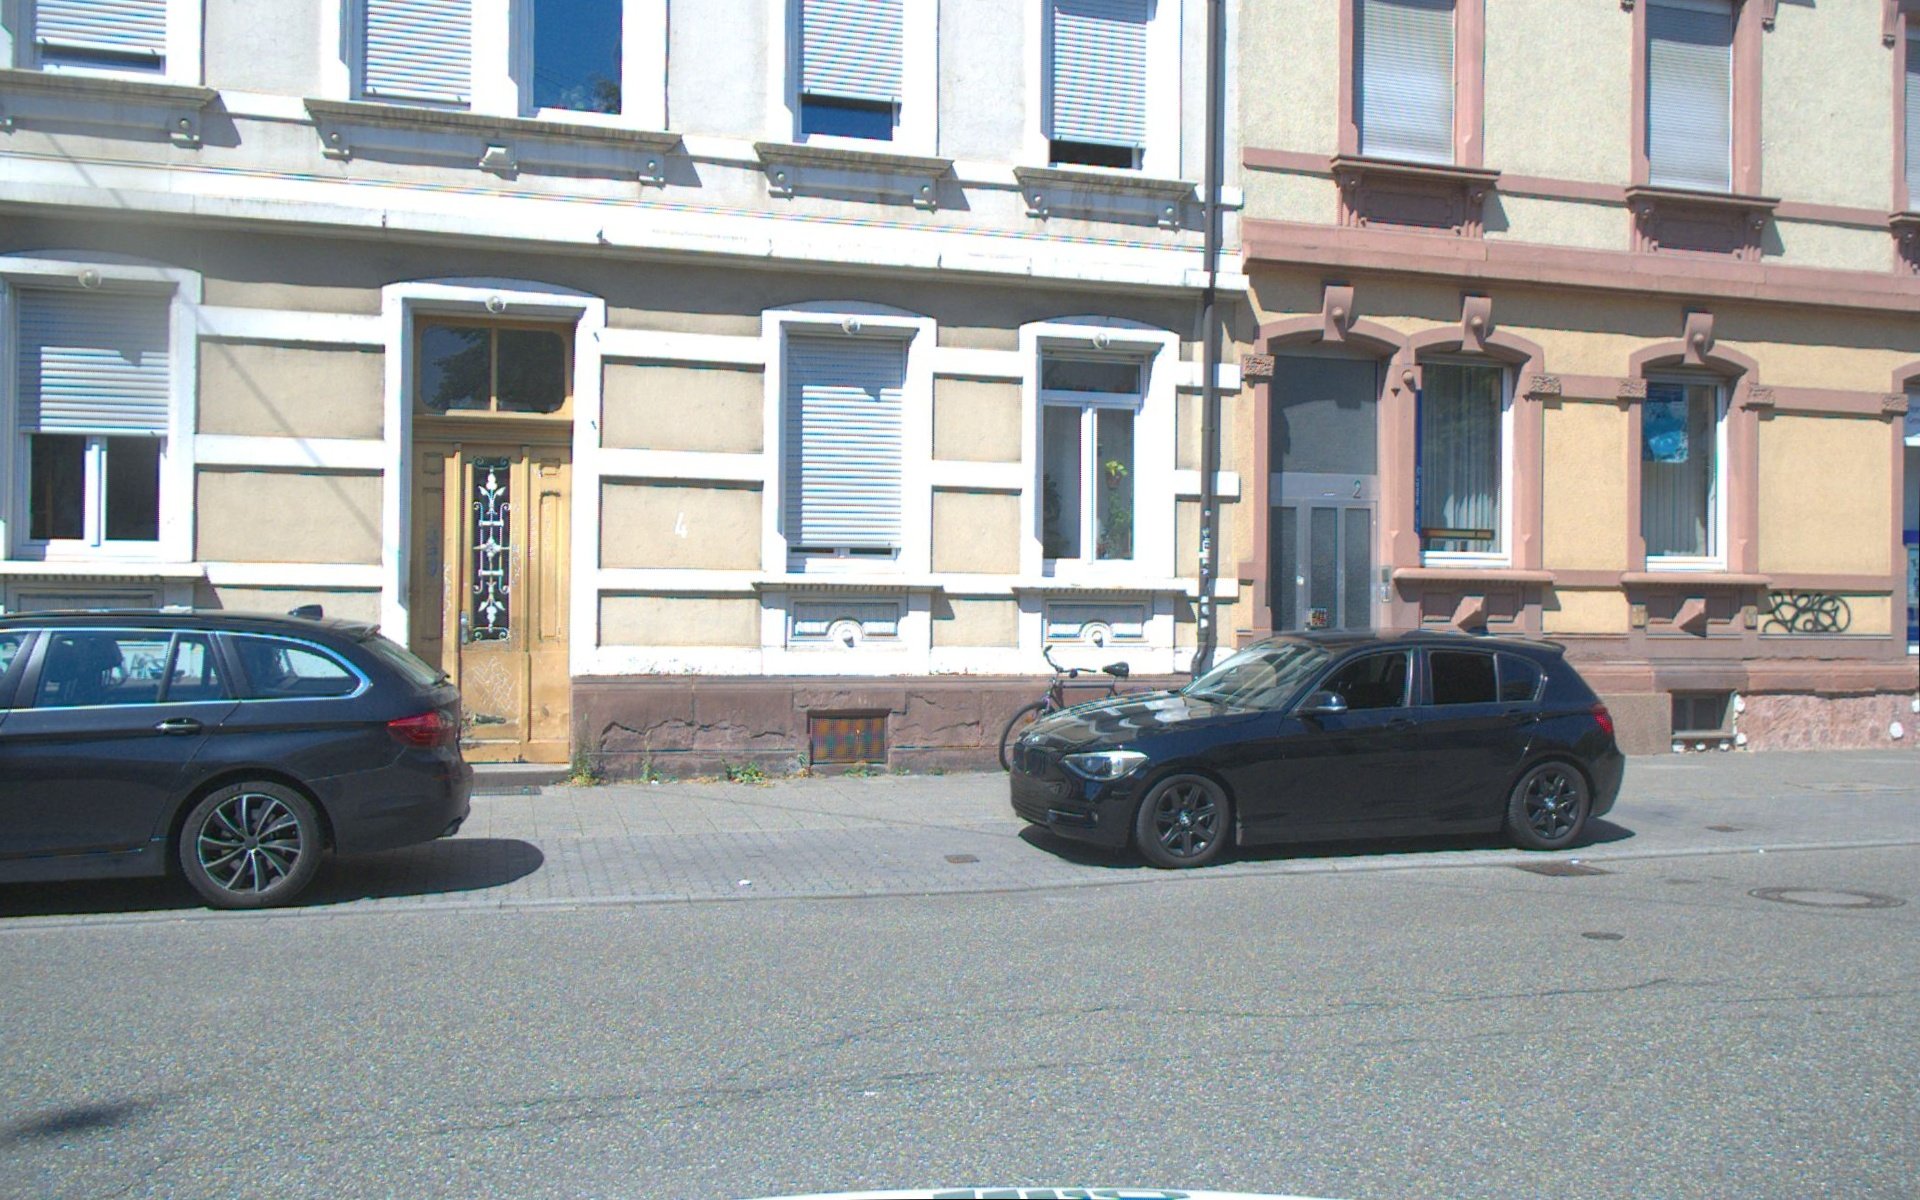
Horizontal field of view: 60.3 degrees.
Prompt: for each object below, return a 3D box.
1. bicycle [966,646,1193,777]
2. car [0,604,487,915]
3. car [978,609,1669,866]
[{"bbox_3d":[1.051,0.955,14.435,1.974,1.039,0.422,0,2,-19],"label":"bicycle"},{"bbox_3d":[-5.008,0.778,8.790,4.781,1.462,1.991,0,0,-17],"label":"car"},{"bbox_3d":[2.394,0.814,11.152,4.225,1.394,1.799,0,2,-17],"label":"car"}]
